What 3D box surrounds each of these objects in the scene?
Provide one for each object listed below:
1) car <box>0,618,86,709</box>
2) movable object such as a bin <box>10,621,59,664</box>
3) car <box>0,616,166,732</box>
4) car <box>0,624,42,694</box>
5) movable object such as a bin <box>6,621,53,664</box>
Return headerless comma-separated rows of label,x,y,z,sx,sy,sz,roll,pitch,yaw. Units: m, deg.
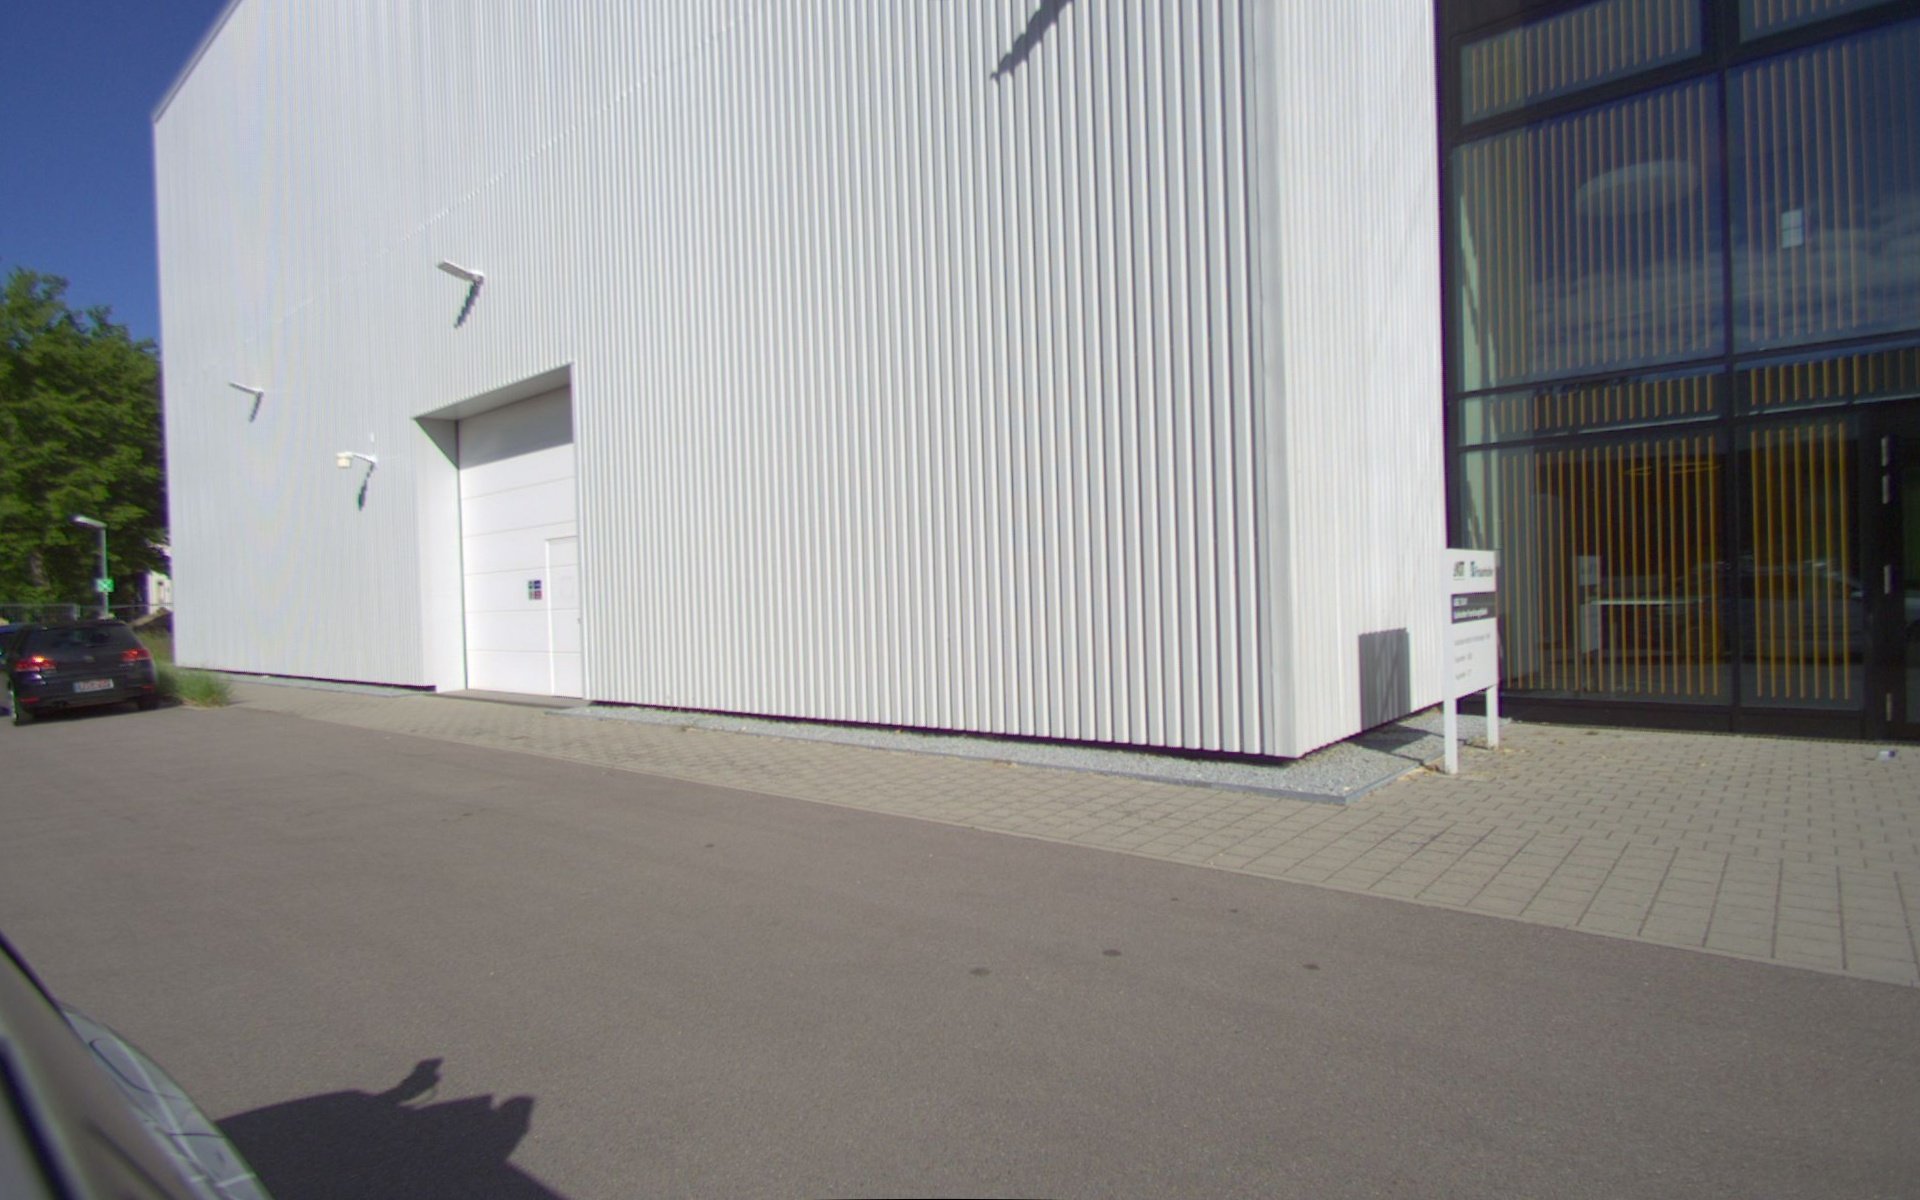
car,-17.894,1.187,19.055,3.518,1.499,1.533,-3,1,39
movable object such as a bin,-32.119,1.463,35.133,1.288,1.445,1.126,-2,-2,41
car,-14.226,1.101,16.050,4.312,1.456,1.738,-2,2,41
car,-22.084,1.352,22.626,3.794,1.459,1.695,-3,1,39
movable object such as a bin,-33.137,1.500,36.040,1.279,1.489,1.126,-3,-3,41
